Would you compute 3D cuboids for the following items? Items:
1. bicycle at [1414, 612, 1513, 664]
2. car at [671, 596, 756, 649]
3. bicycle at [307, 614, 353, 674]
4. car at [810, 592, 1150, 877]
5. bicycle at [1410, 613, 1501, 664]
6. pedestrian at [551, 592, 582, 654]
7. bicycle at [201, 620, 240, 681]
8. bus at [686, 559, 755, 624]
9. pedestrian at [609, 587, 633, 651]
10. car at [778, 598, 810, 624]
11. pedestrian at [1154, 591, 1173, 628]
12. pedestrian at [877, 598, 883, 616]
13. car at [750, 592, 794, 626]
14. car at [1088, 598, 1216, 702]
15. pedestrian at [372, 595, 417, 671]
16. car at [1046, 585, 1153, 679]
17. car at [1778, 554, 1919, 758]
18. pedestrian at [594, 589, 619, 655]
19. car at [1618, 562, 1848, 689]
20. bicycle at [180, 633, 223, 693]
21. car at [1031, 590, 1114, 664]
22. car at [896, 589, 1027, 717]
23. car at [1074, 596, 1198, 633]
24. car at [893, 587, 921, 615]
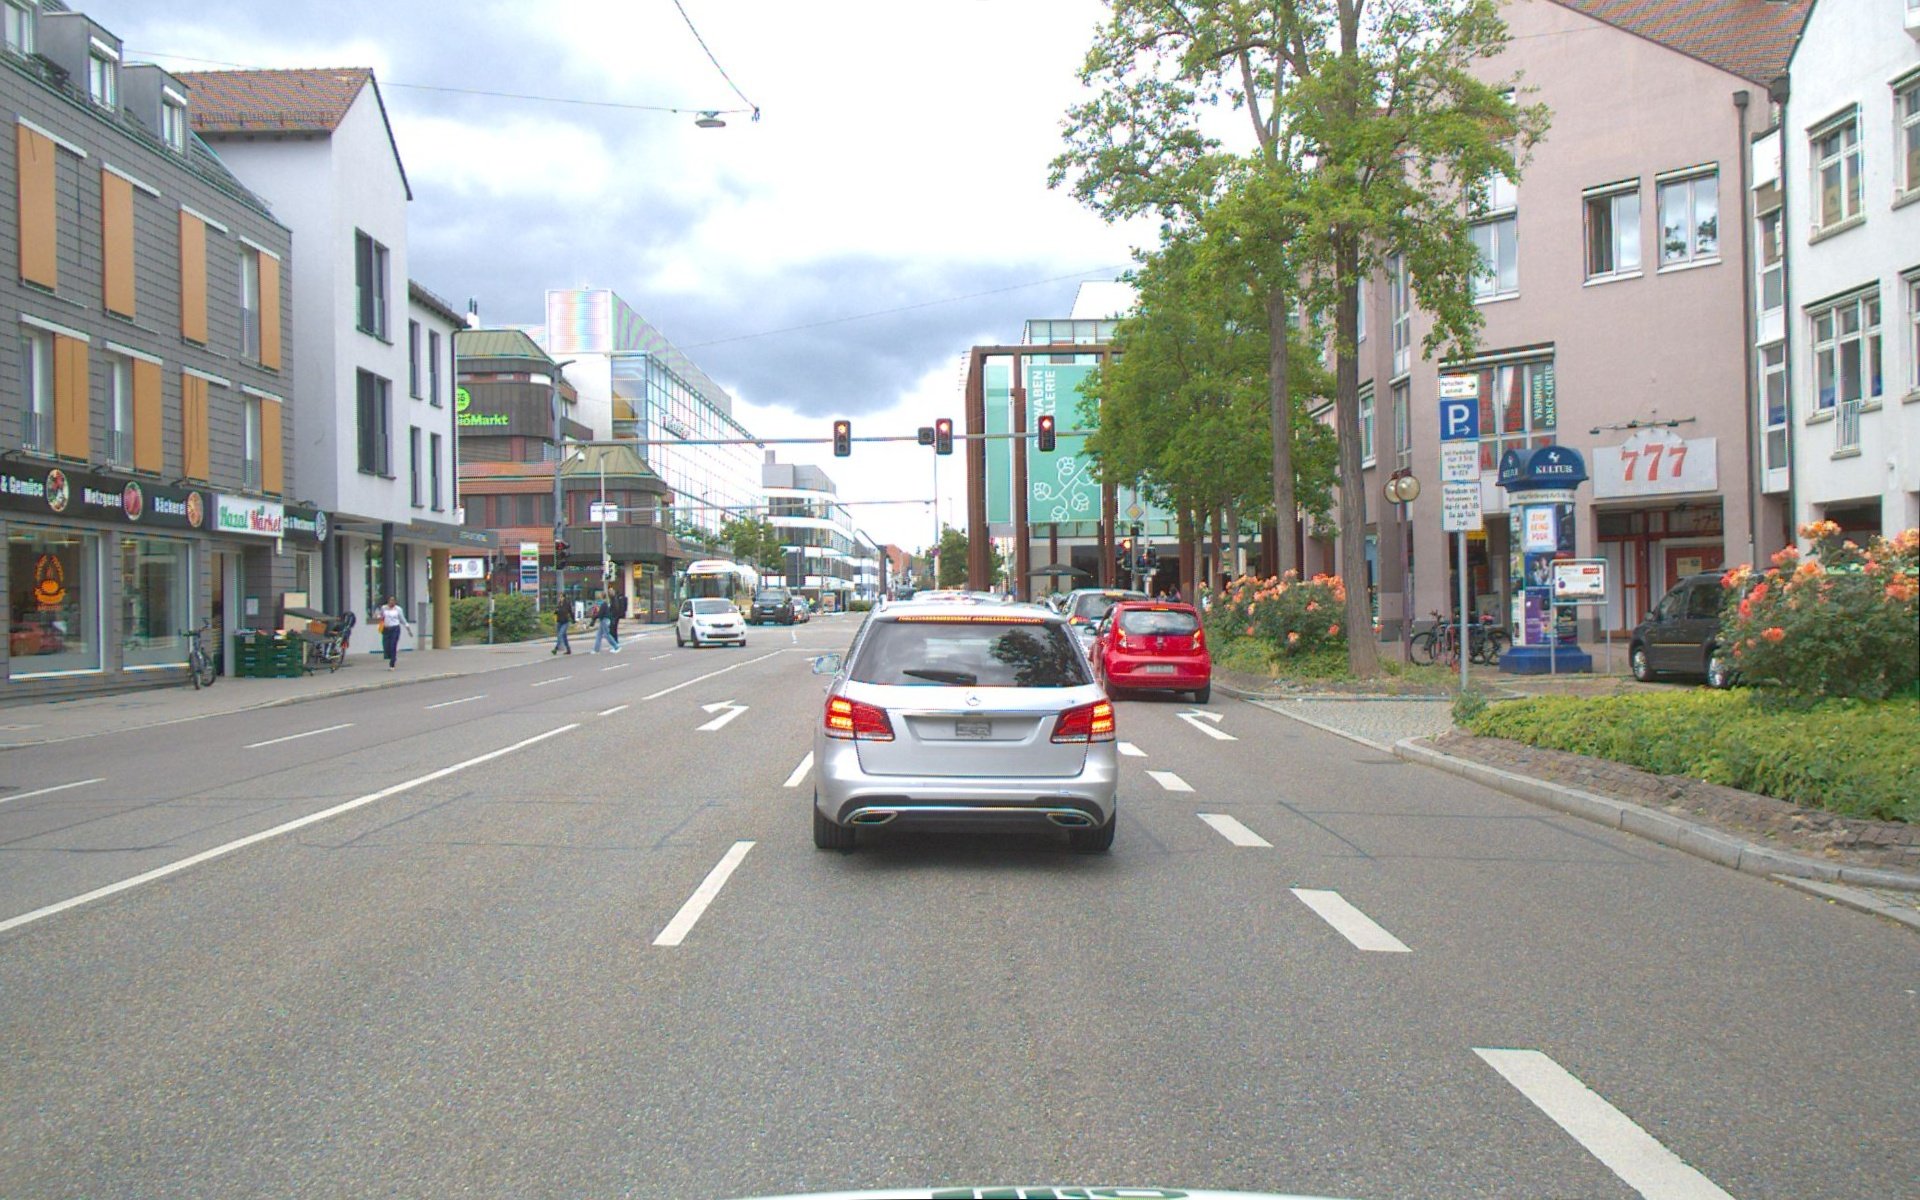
[{"bbox_3d":[10.239,0.774,33.693,1.861,1.014,0.468,-1,0,4],"label":"bicycle"},{"bbox_3d":[-7.485,0.673,50.032,1.555,1.514,3.434,-2,0,-26],"label":"car"},{"bbox_3d":[-13.404,0.925,35.234,0.378,1.207,1.825,-1,0,-3],"label":"bicycle"},{"bbox_3d":[0.099,0.719,10.954,1.778,1.474,4.369,1,0,0],"label":"car"},{"bbox_3d":[10.244,0.794,34.240,1.731,1.014,0.447,-1,0,4],"label":"bicycle"},{"bbox_3d":[-10.799,0.627,45.395,0.638,1.679,0.560,-1,0,14],"label":"pedestrian"},{"bbox_3d":[-14.510,0.985,32.462,0.379,1.147,1.287,-1,0,-10],"label":"bicycle"},{"bbox_3d":[-12.788,-0.451,88.863,2.632,3.318,8.650,0,0,-2],"label":"bus"},{"bbox_3d":[-9.753,0.548,47.597,0.633,1.806,0.569,-1,0,-12],"label":"pedestrian"},{"bbox_3d":[-9.387,0.597,93.604,1.523,1.417,3.286,0,0,-2],"label":"car"},{"bbox_3d":[9.155,0.426,74.366,0.641,1.679,0.557,-1,0,-15],"label":"pedestrian"},{"bbox_3d":[-8.100,0.730,167.261,0.508,1.764,0.489,-1,0,18],"label":"pedestrian"},{"bbox_3d":[-9.771,0.457,86.147,1.953,1.736,4.063,0,0,-2],"label":"car"},{"bbox_3d":[2.917,0.726,25.655,1.554,1.468,3.348,1,0,0],"label":"car"},{"bbox_3d":[-12.290,0.712,35.948,0.713,1.638,0.753,-1,0,0],"label":"pedestrian"},{"bbox_3d":[2.622,0.572,31.808,1.555,1.662,3.915,1,0,-2],"label":"car"},{"bbox_3d":[9.881,0.489,15.618,1.842,1.909,4.603,-2,0,-2],"label":"car"},{"bbox_3d":[-9.884,0.619,46.241,0.635,1.821,0.682,-1,0,-11],"label":"pedestrian"},{"bbox_3d":[12.457,0.374,26.920,1.605,1.863,3.963,-2,0,-5],"label":"car"},{"bbox_3d":[-13.013,1.069,28.384,0.320,0.970,1.479,-1,0,-11],"label":"bicycle"},{"bbox_3d":[2.599,0.592,38.897,1.555,1.623,3.866,1,0,-2],"label":"car"},{"bbox_3d":[0.002,0.648,21.987,1.606,1.554,3.393,0,0,-1],"label":"car"},{"bbox_3d":[6.785,0.554,64.245,4.618,1.393,1.964,-1,0,1],"label":"car"},{"bbox_3d":[-3.800,0.046,119.443,1.953,1.983,4.949,0,0,-2],"label":"car"}]
